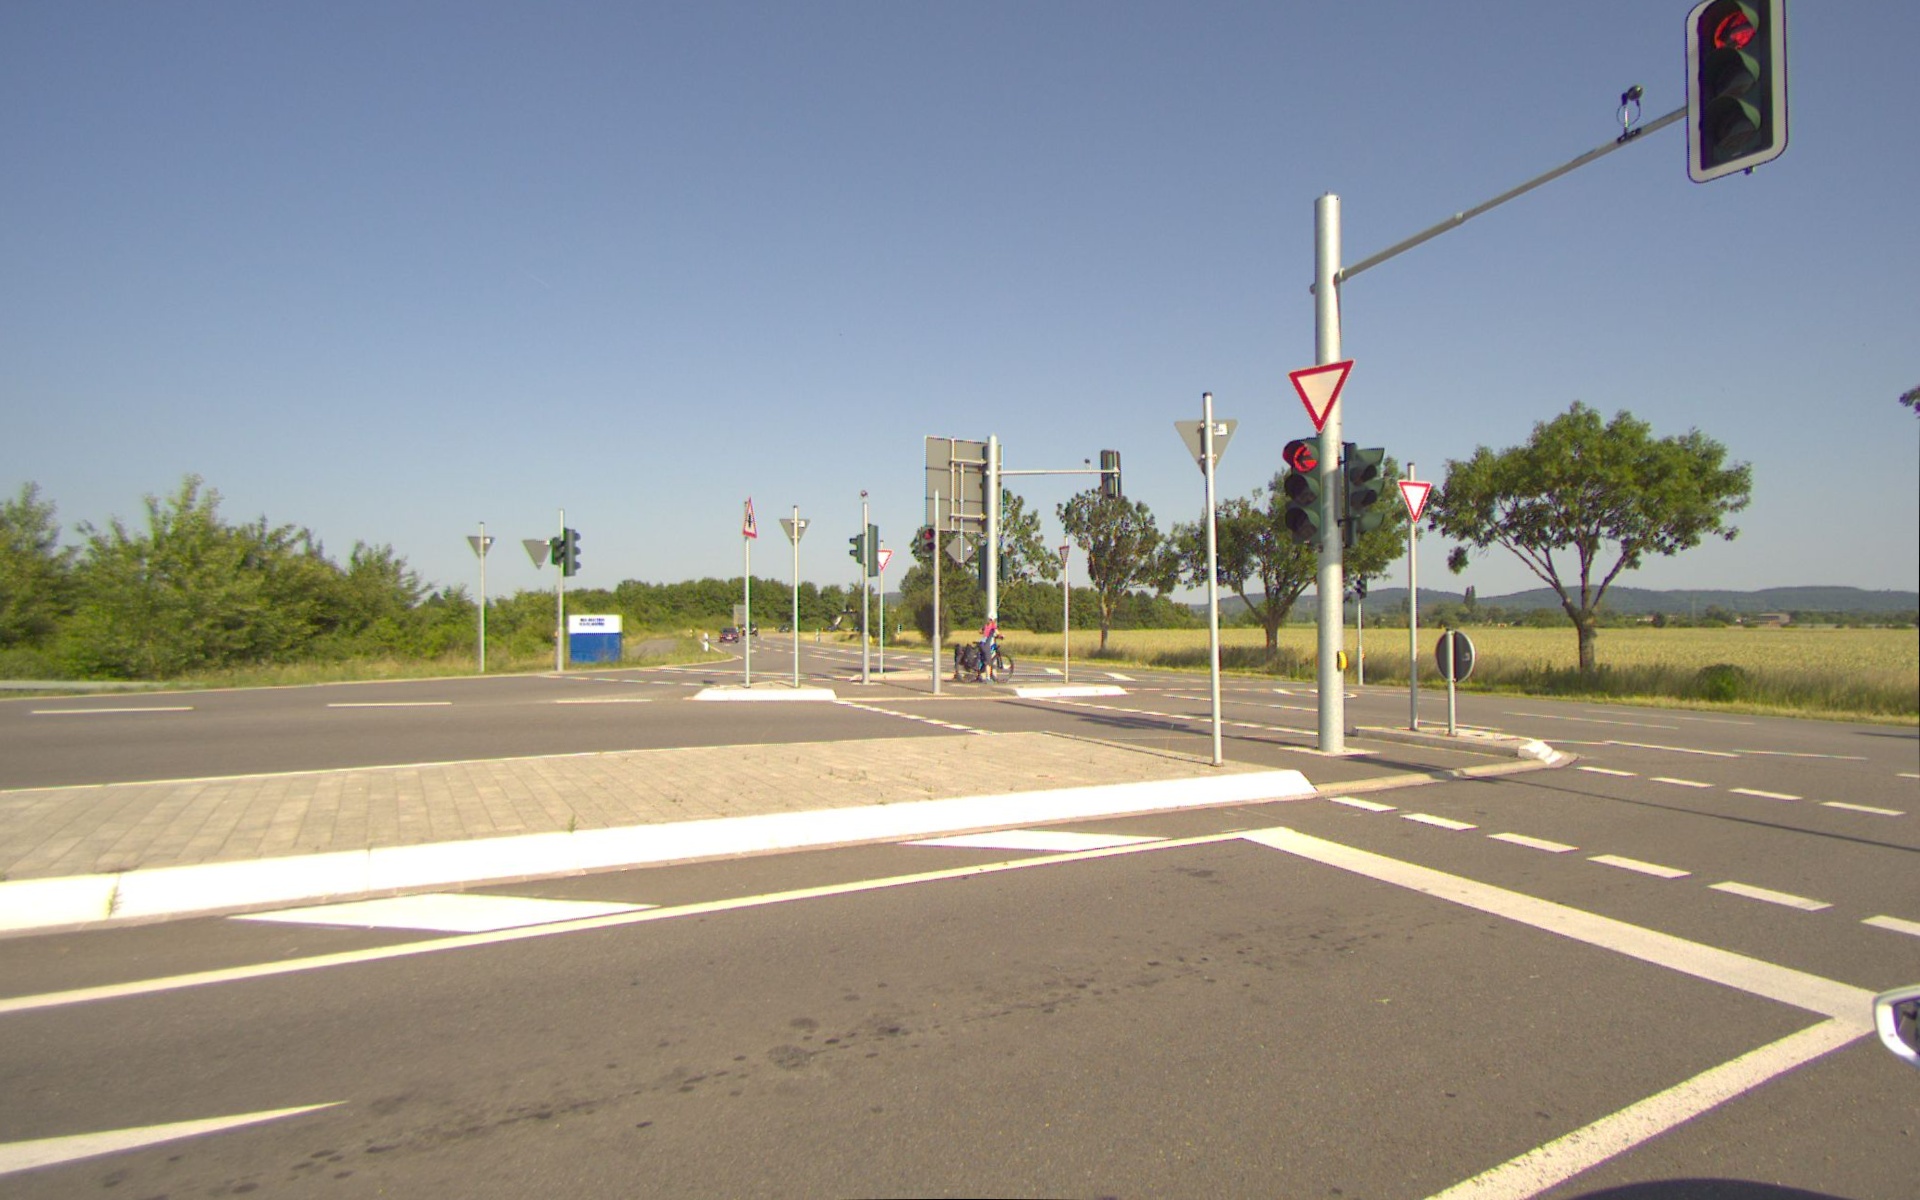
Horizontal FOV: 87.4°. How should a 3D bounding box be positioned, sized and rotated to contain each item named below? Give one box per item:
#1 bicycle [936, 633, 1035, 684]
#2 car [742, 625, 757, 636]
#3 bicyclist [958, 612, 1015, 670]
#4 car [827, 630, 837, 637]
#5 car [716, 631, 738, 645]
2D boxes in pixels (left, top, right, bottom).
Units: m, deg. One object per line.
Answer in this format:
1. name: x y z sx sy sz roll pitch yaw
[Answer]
1. bicycle: 0.622 1.422 24.344 2.126 1.164 1.065 3 -1 -31
2. car: -29.037 4.214 138.730 1.829 1.562 3.995 1 -2 -8
3. bicyclist: 0.645 0.988 24.397 1.062 1.369 0.851 2 -1 -31
4. car: -28.958 7.607 226.895 1.694 1.544 3.470 2 -1 3
5. car: -20.587 3.347 88.906 1.709 1.127 3.993 2 -2 -11
